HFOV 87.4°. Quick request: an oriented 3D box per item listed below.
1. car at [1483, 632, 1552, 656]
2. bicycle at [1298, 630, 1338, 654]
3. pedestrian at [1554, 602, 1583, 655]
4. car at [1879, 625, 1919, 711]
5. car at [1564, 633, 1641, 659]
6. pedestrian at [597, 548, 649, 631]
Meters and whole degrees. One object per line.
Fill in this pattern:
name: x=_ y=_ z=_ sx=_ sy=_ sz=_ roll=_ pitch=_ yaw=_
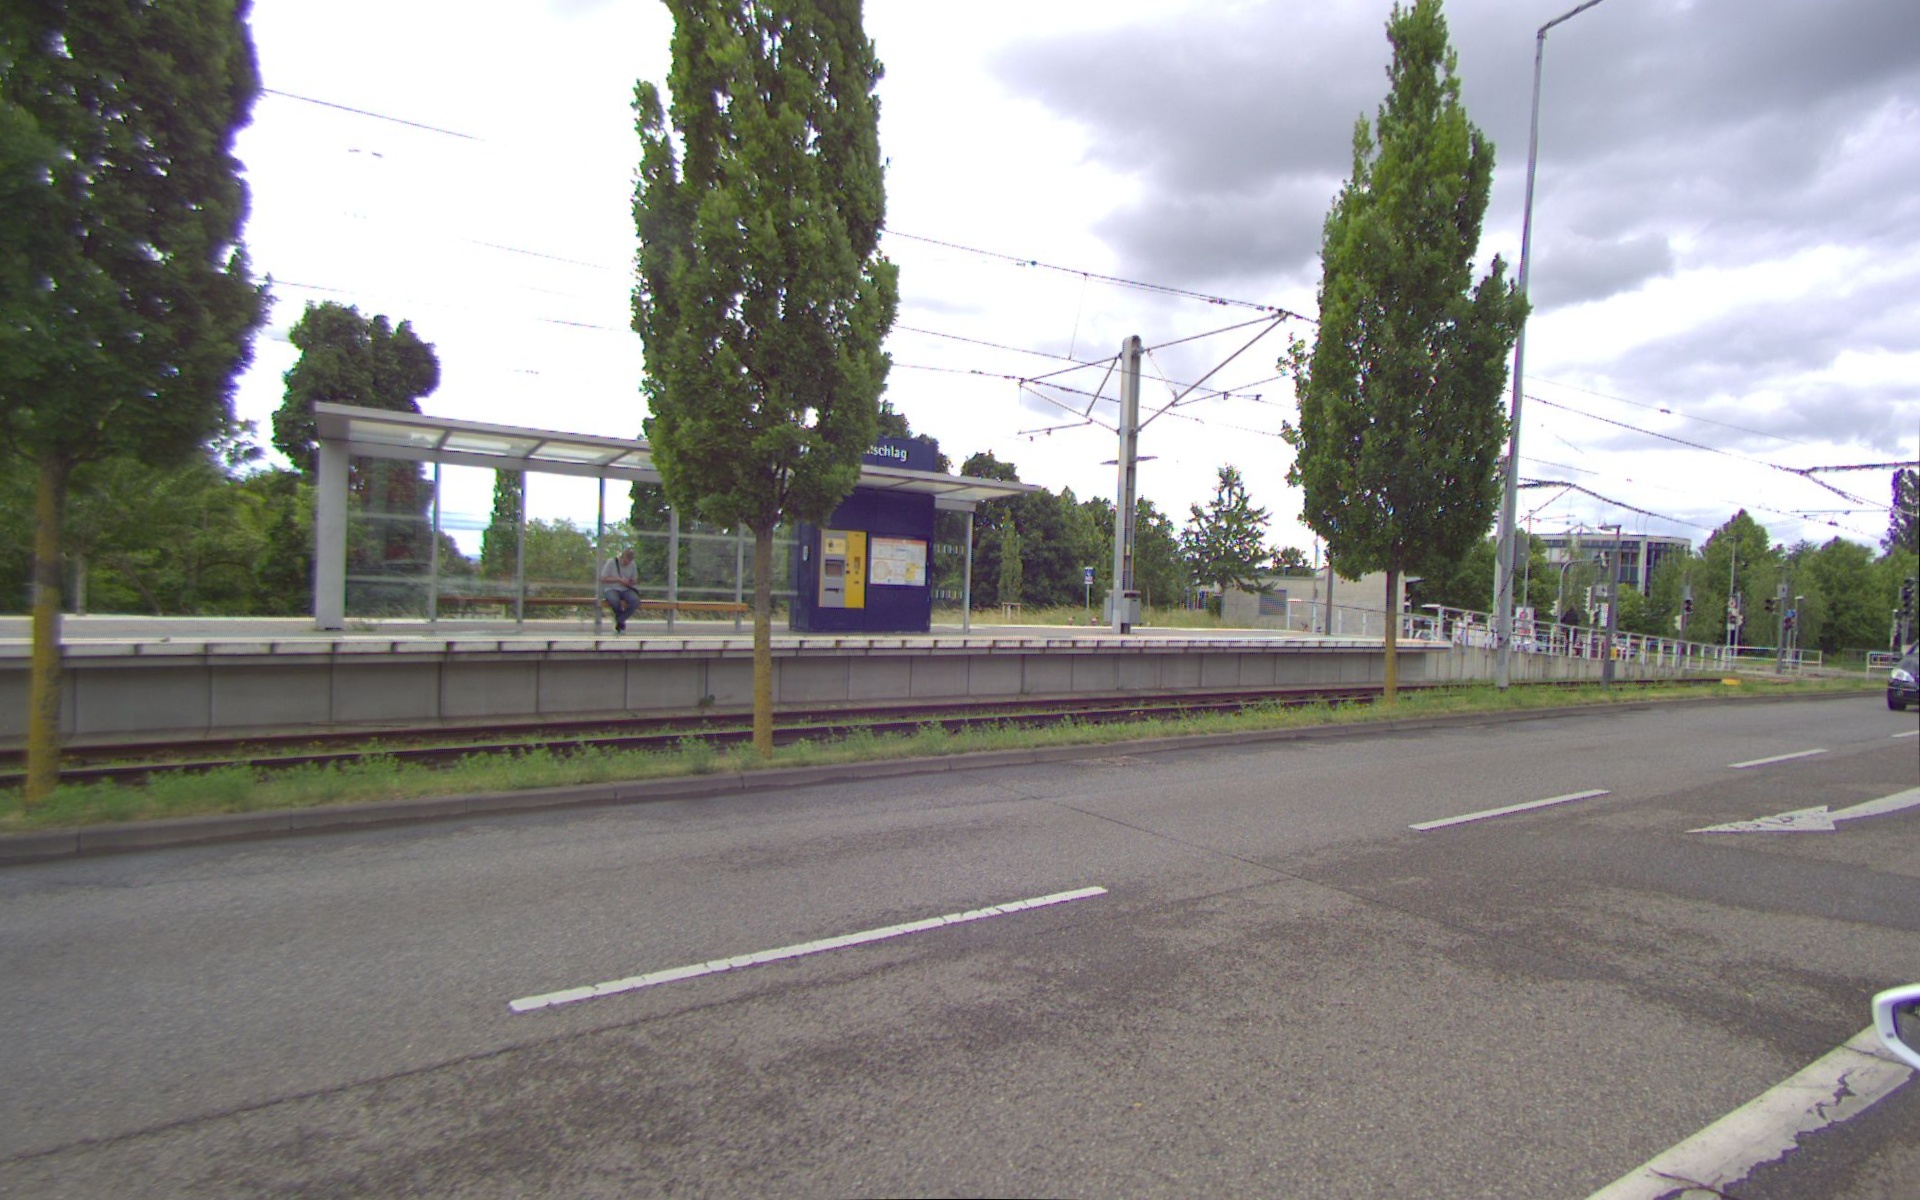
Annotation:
car: x=37.634 y=2.965 z=67.885 sx=1.496 sy=1.395 sz=3.978 roll=2 pitch=-1 yaw=-22
bicycle: x=16.874 y=1.984 z=47.371 sx=1.762 sy=1.029 sz=0.411 roll=2 pitch=0 yaw=18
pedestrian: x=21.693 y=1.006 z=35.833 sx=0.785 sy=1.852 sz=0.568 roll=2 pitch=0 yaw=-34
car: x=19.695 y=1.353 z=19.710 sx=3.670 sy=1.594 sz=1.714 roll=3 pitch=-1 yaw=-35
car: x=41.960 y=2.978 z=65.684 sx=1.708 sy=1.537 sz=3.978 roll=1 pitch=0 yaw=-23
pedestrian: x=-5.400 y=-0.162 z=16.108 sx=0.653 sy=1.286 sz=0.606 roll=0 pitch=0 yaw=-35
